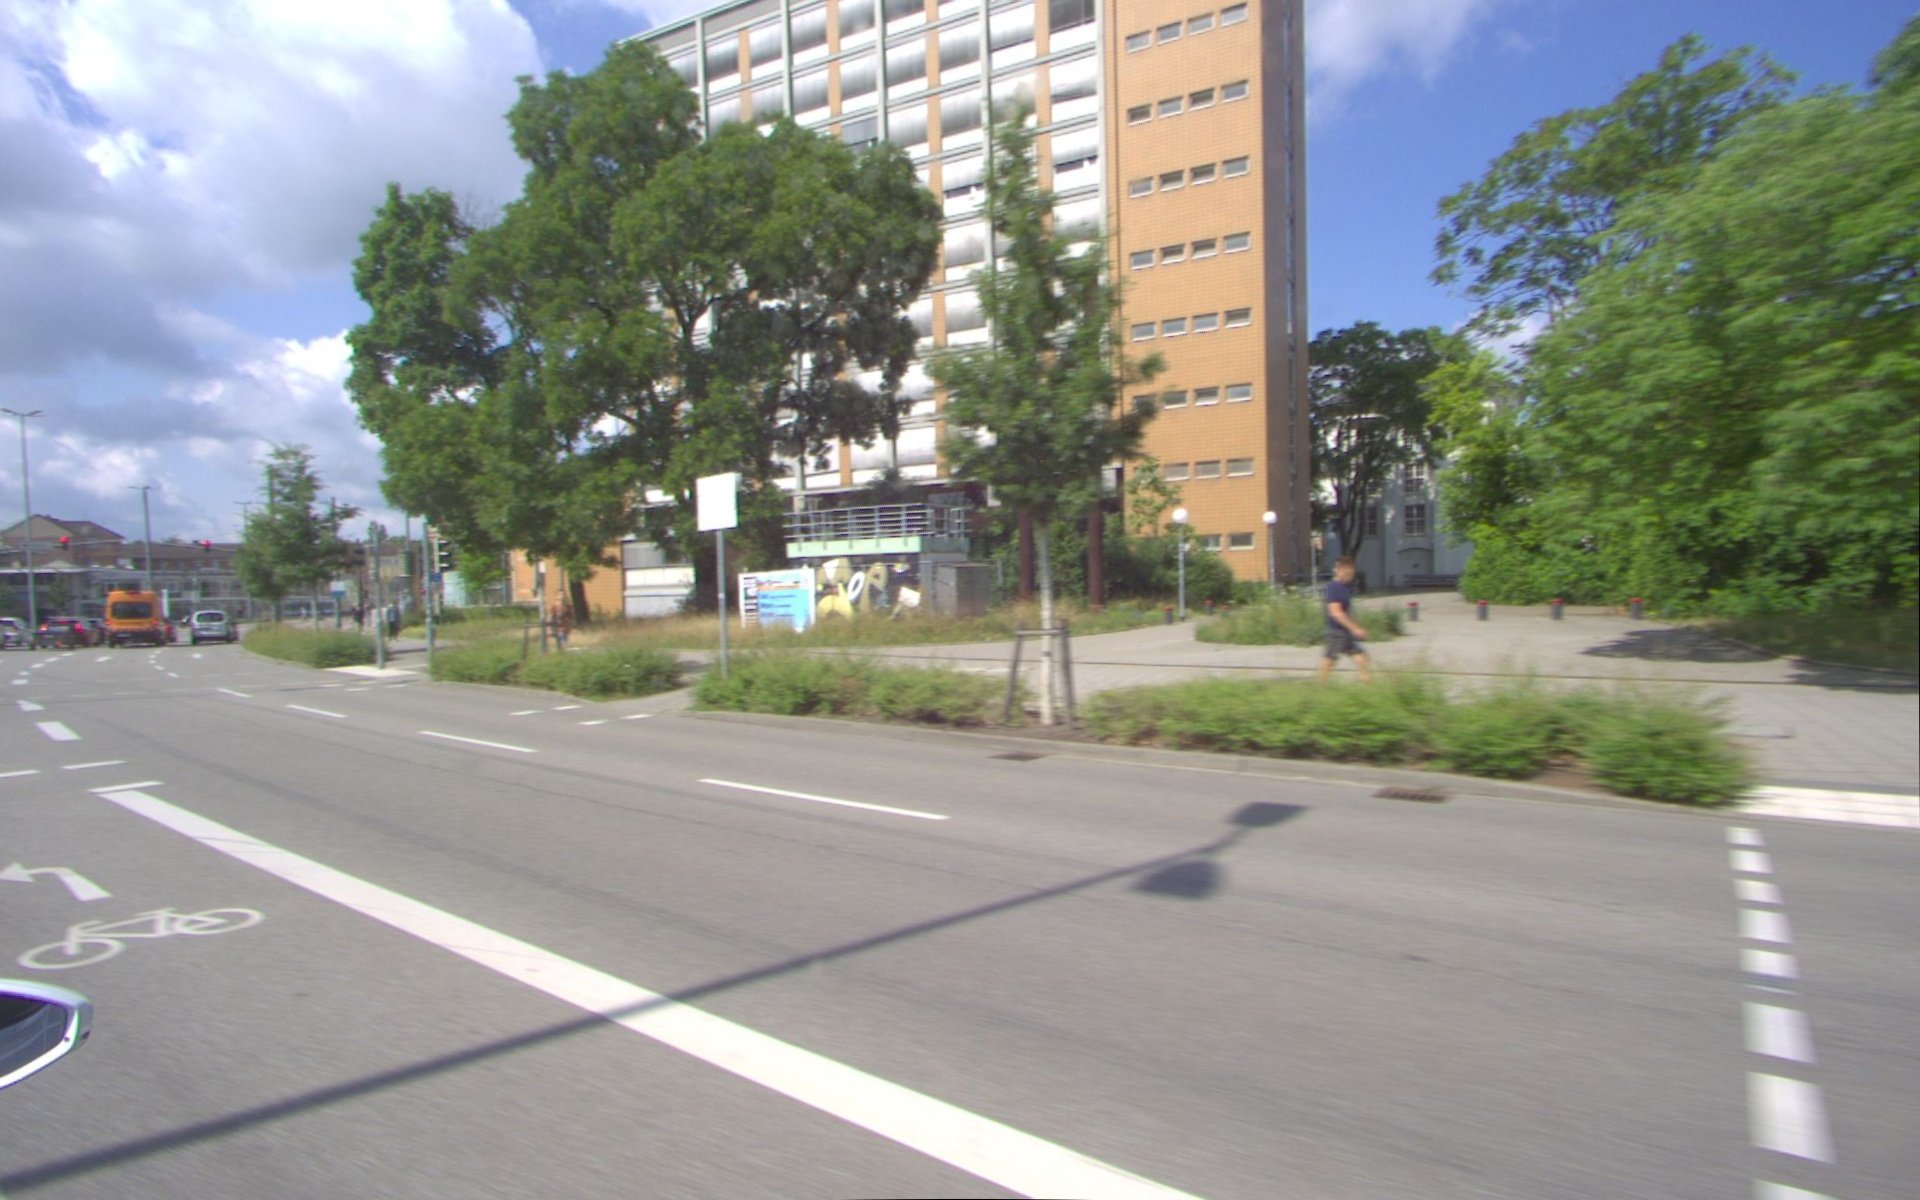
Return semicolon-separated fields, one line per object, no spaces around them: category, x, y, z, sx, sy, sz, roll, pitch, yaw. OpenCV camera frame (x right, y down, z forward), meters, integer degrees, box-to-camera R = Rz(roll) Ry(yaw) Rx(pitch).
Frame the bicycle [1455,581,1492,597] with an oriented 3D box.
bicycle;24.852;-0.512;48.465;1.538;0.729;0.505;-1;1;35

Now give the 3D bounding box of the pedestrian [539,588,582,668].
pedestrian;-8.952;0.610;22.453;0.571;1.757;0.657;0;2;40

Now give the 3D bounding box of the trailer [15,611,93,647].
trailer;-42.811;1.332;47.412;1.972;1.497;3.976;-2;1;-32

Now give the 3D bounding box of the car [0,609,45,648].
car;-50.775;1.484;53.535;1.971;1.965;4.609;-3;1;-33

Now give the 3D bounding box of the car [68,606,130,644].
car;-48.314;1.371;56.287;1.971;1.965;4.609;-3;1;-33

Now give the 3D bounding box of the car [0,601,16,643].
car;-46.342;1.070;47.098;1.985;1.993;4.609;-3;1;-33

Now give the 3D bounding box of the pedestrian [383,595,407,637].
pedestrian;-24.663;0.705;43.705;0.780;1.808;0.662;-2;2;-37

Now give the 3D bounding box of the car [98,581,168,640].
car;-41.697;0.509;50.616;2.108;2.818;4.609;-3;1;-33

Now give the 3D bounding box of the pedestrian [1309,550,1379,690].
pedestrian;4.384;0.217;11.411;0.545;1.528;0.767;0;1;37

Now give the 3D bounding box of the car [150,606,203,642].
car;-45.795;1.364;58.609;1.971;1.965;4.609;-3;1;-33

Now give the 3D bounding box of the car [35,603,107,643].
car;-44.758;1.110;50.497;1.972;1.851;3.976;-3;1;-32

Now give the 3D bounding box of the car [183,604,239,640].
car;-40.407;1.149;54.119;1.972;1.819;3.976;-2;1;-32

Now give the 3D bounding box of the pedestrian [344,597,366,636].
pedestrian;-28.076;0.754;46.479;0.780;1.808;0.662;-2;2;-35
